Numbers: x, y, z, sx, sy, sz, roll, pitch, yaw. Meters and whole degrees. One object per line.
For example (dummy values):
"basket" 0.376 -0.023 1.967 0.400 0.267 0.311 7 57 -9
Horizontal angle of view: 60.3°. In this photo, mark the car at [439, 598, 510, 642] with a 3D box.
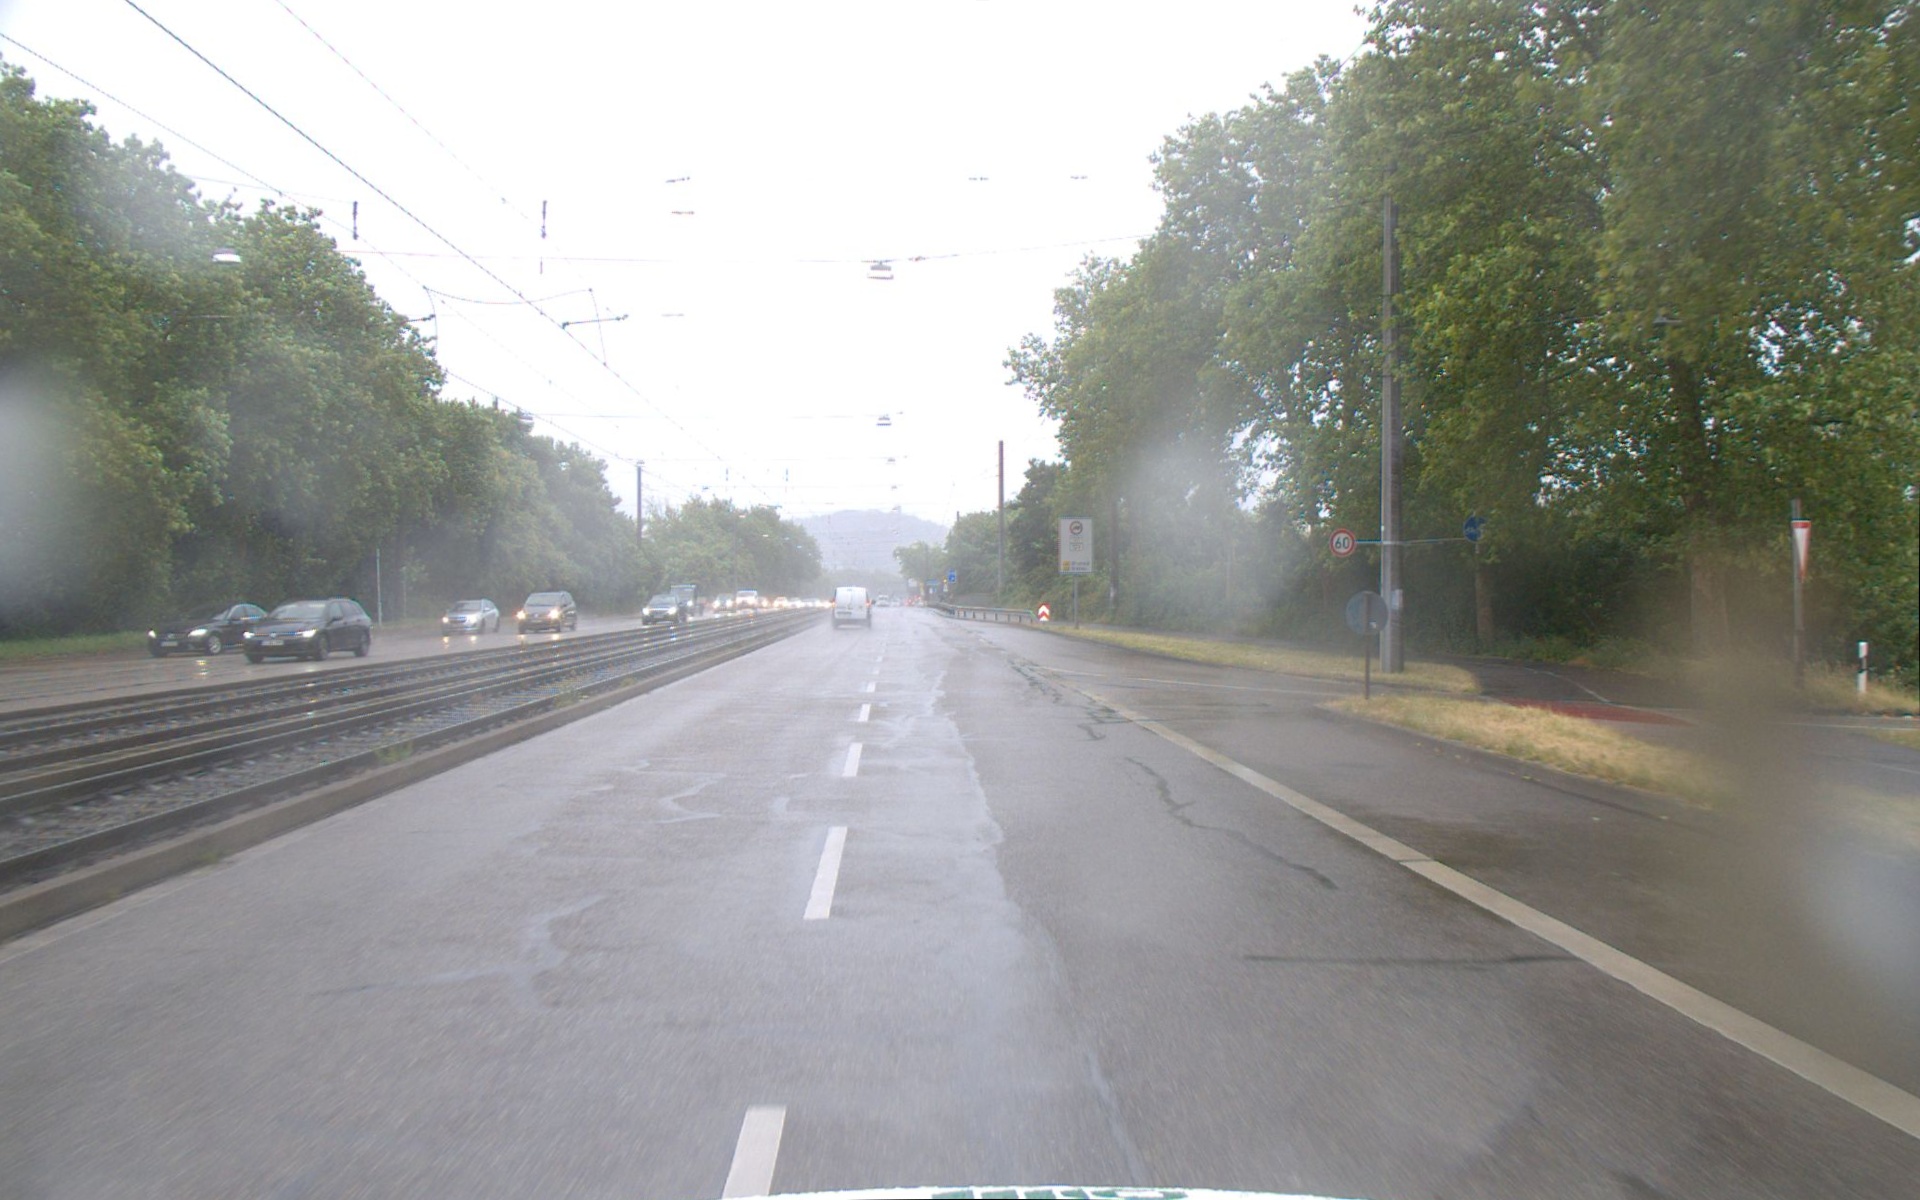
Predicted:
"car" -21.388 0.859 73.078 1.783 1.735 5.019 1 1 -2

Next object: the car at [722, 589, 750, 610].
"car" -19.629 -0.027 145.302 1.803 1.746 4.163 1 1 1

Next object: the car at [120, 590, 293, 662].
"car" -21.127 0.678 46.616 2.038 1.829 4.768 1 1 10

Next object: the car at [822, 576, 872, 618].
"car" -4.912 -0.143 72.548 1.949 1.713 3.739 1 1 -1

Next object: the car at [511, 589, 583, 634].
"car" -17.879 0.472 71.857 1.783 1.735 6.102 1 1 -2

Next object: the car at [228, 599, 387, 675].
"car" -15.641 0.825 39.965 1.754 1.576 5.313 1 1 -1

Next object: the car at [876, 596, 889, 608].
"car" -10.535 0.209 225.034 1.708 1.534 3.698 1 1 -3

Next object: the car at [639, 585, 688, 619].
"car" -15.600 0.072 87.301 1.740 1.612 5.679 1 1 -2
